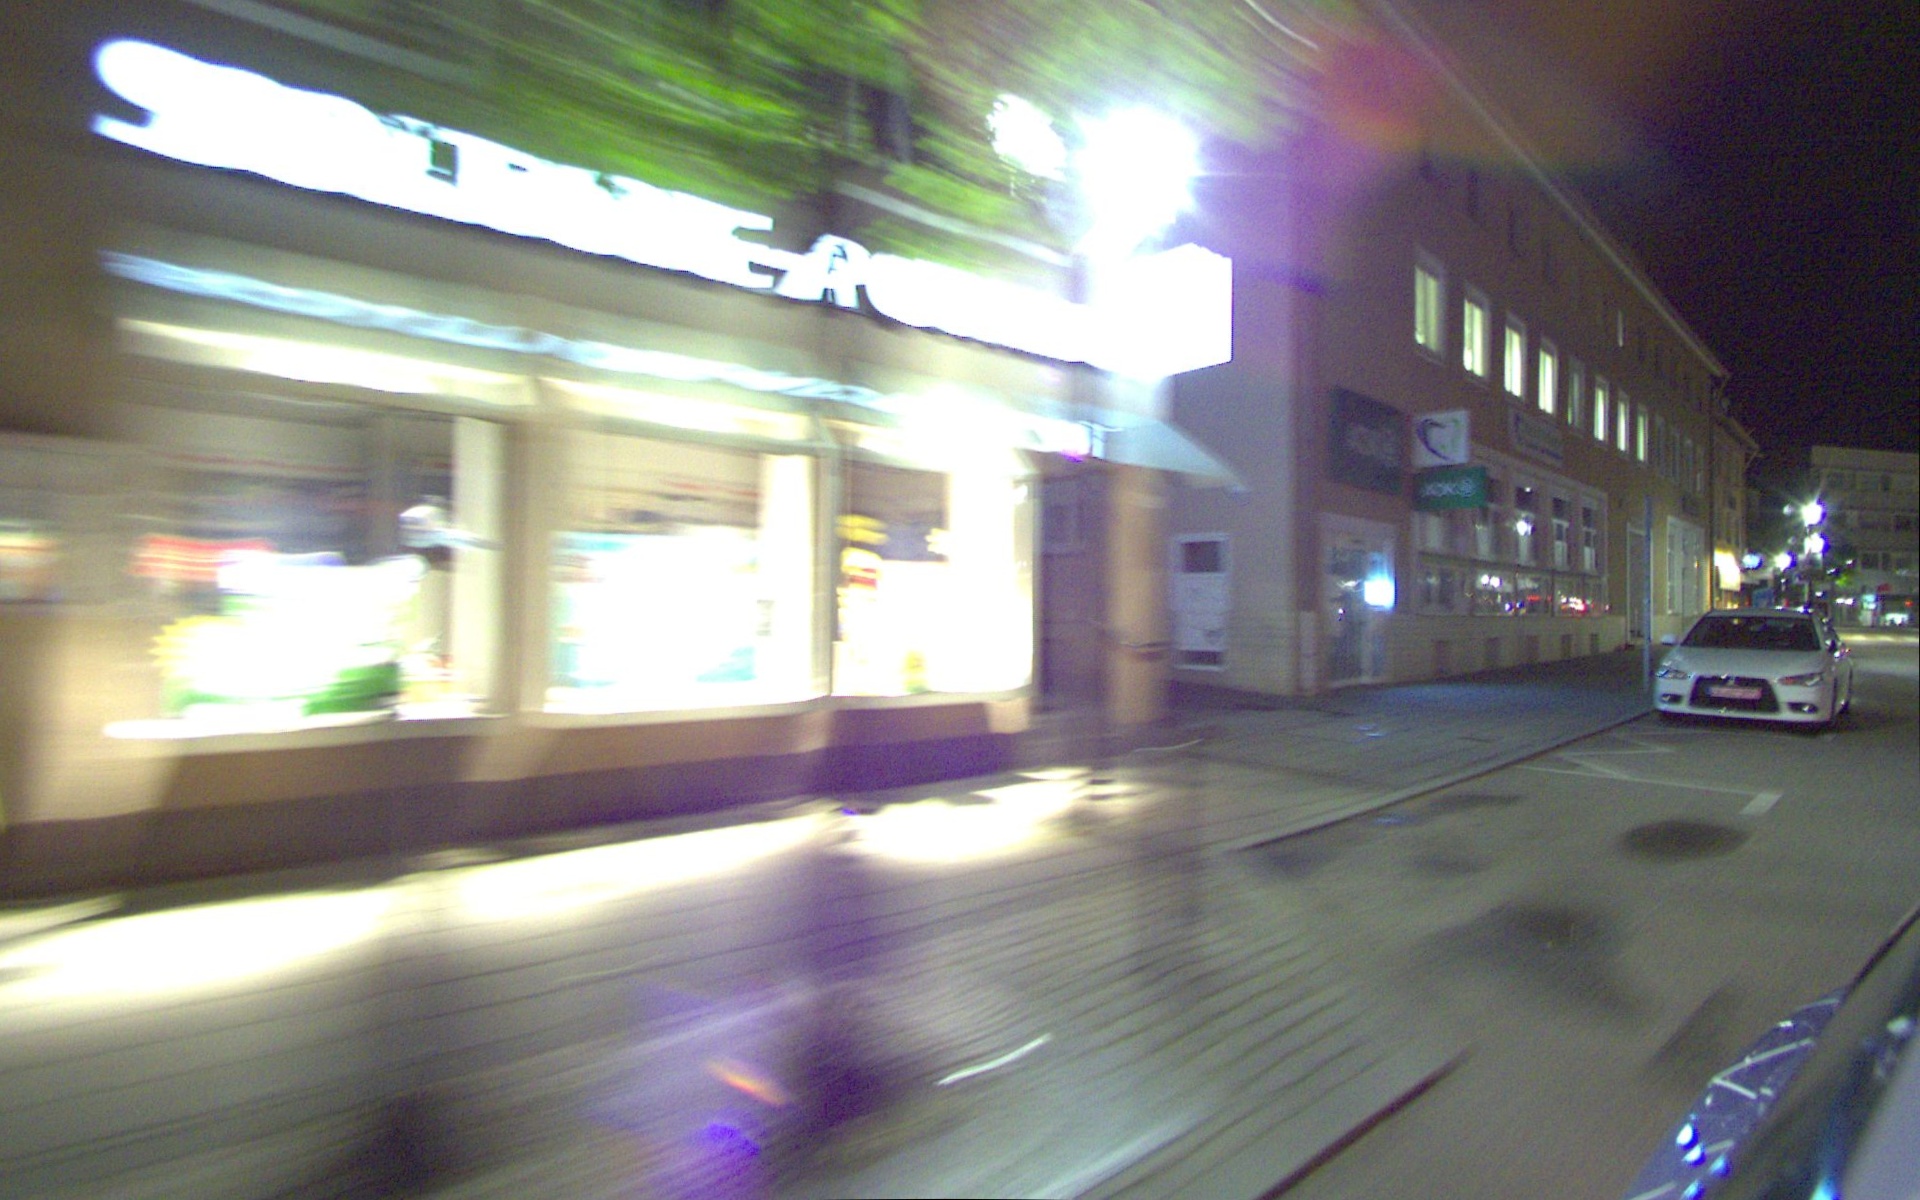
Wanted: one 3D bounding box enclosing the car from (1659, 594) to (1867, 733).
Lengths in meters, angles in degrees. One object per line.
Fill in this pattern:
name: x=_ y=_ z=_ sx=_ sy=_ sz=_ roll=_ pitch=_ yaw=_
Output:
car: x=10.863 y=0.694 z=13.550 sx=1.742 sy=1.506 sz=4.562 roll=0 pitch=1 yaw=44
